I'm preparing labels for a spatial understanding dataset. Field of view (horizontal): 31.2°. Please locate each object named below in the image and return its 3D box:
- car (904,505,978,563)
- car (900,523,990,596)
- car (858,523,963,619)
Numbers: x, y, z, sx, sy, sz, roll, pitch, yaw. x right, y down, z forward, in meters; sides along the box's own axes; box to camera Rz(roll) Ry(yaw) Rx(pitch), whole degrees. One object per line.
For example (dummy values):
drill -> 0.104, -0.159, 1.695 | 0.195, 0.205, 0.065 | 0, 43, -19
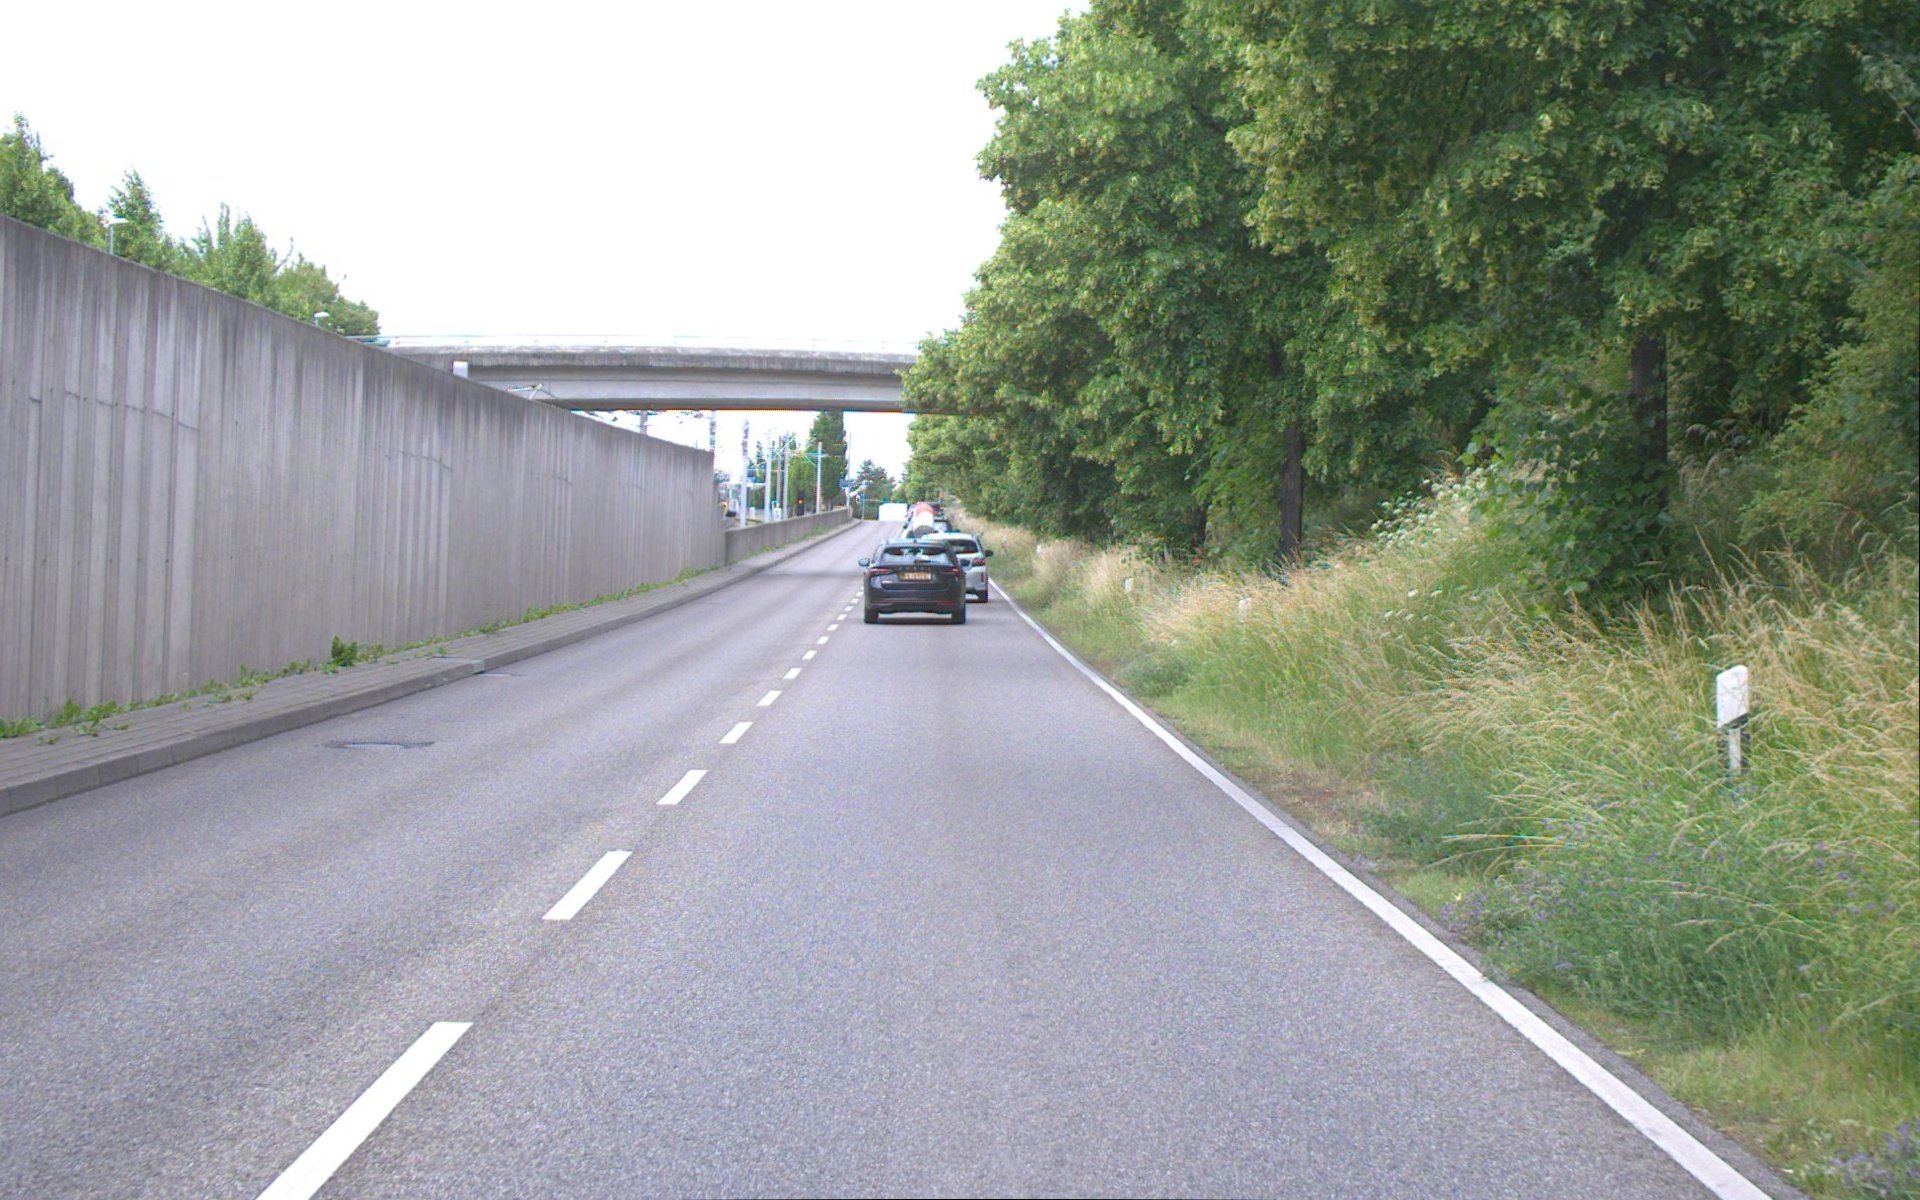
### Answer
car -> -0.559, -1.870, 97.262 | 1.866, 1.485, 4.257 | 4, 1, -2
car -> -0.352, -0.885, 74.782 | 1.754, 1.518, 4.037 | -1, 1, -2
car -> -0.869, -0.541, 60.178 | 1.754, 1.518, 4.037 | -1, 2, -1
